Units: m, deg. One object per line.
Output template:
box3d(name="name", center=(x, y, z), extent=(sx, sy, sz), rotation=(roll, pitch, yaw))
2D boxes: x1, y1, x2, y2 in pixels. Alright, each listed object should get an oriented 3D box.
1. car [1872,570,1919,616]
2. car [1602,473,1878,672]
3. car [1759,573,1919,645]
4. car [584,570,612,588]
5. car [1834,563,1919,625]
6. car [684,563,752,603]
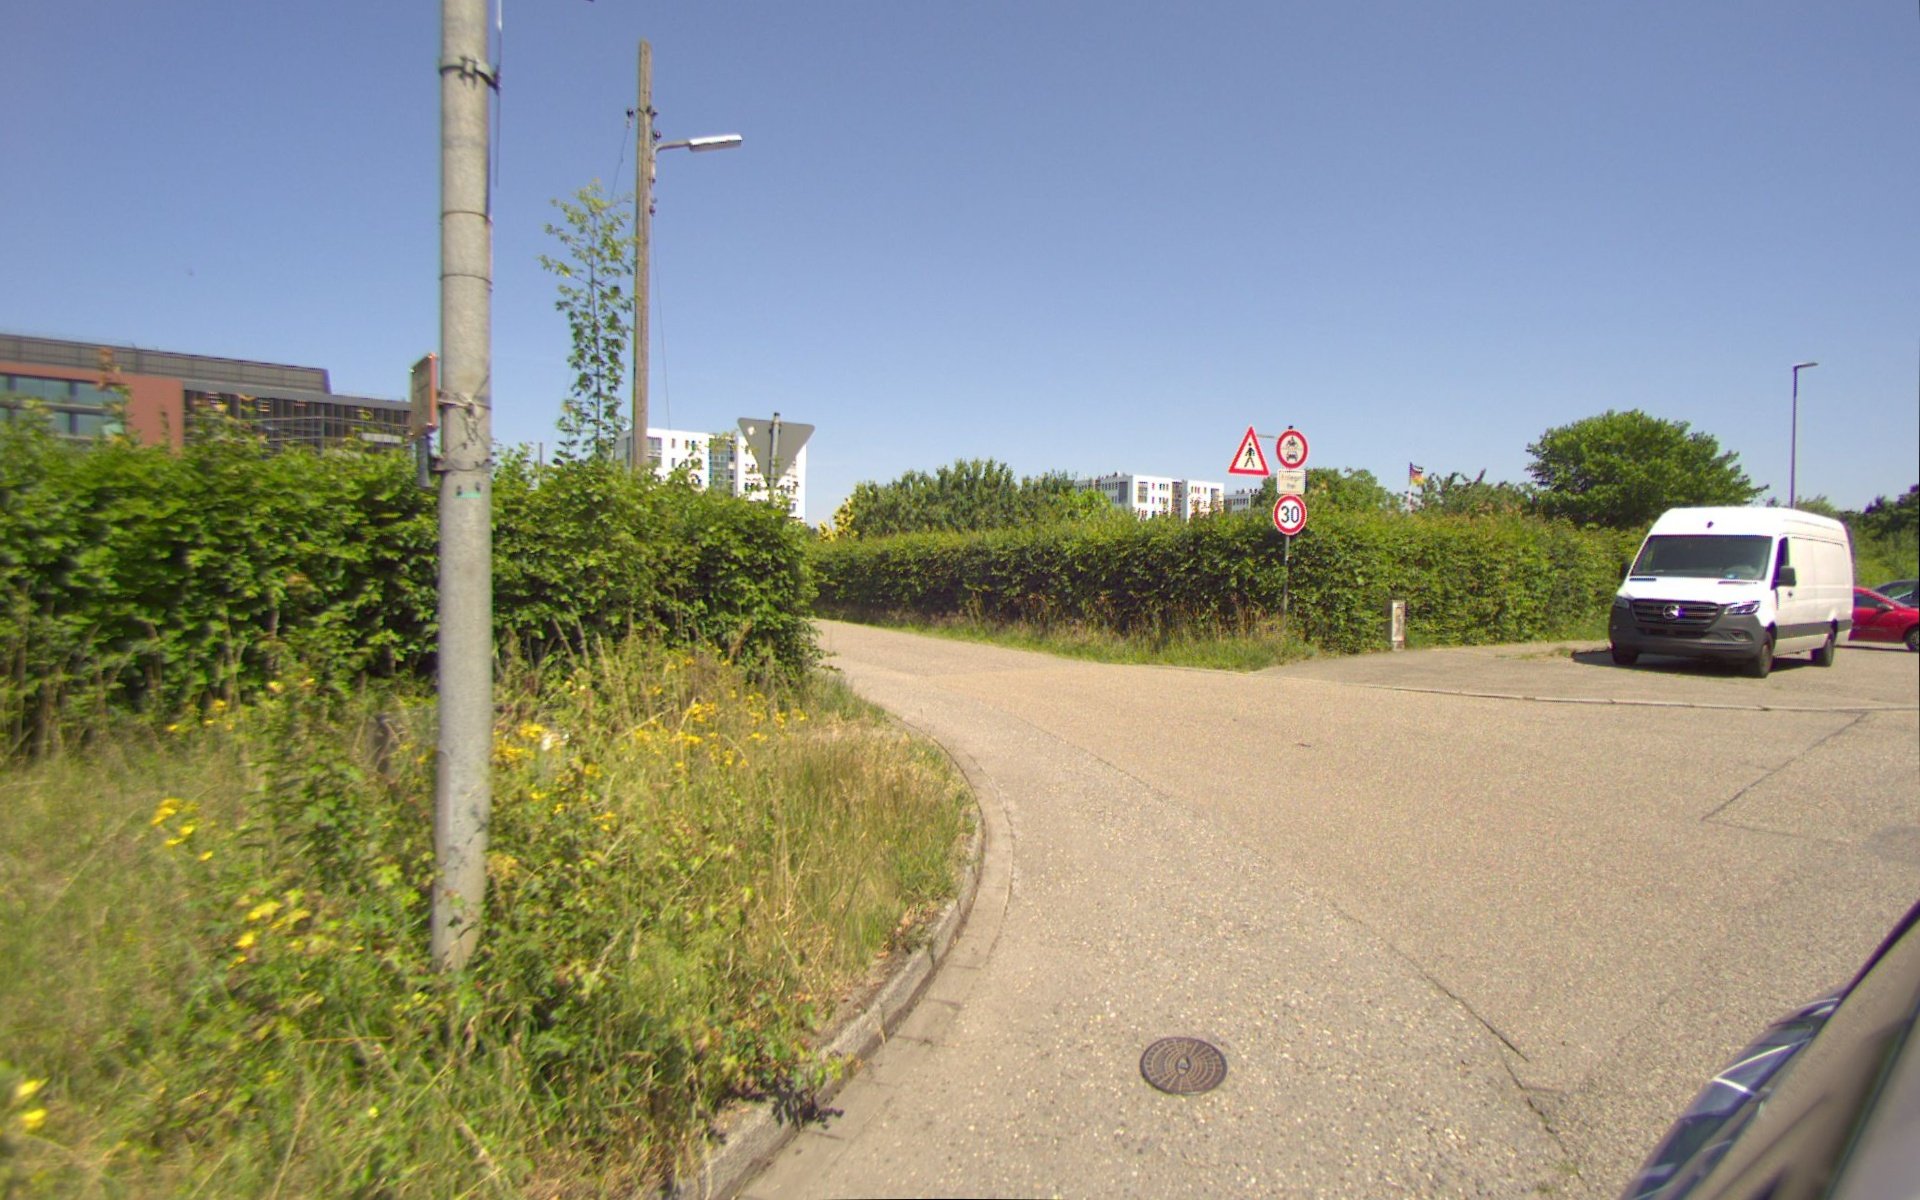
box3d(name="car", center=(35.549, -0.144, 36.050), extent=(1.735, 1.597, 4.285), rotation=(1, 4, -41))
box3d(name="car", center=(13.288, -0.426, 16.996), extent=(7.038, 2.766, 1.960), rotation=(1, 4, -39))
box3d(name="car", center=(21.512, 0.219, 23.713), extent=(1.804, 1.451, 4.062), rotation=(0, 4, -42))
box3d(name="car", center=(-33.105, -1.930, 92.394), extent=(1.813, 1.556, 4.476), rotation=(1, 2, -27))
box3d(name="car", center=(30.864, -0.141, 32.147), extent=(1.920, 1.826, 4.459), rotation=(-1, 5, -44))
box3d(name="car", center=(-10.548, -0.780, 43.807), extent=(1.813, 1.556, 4.476), rotation=(1, 2, -27))
